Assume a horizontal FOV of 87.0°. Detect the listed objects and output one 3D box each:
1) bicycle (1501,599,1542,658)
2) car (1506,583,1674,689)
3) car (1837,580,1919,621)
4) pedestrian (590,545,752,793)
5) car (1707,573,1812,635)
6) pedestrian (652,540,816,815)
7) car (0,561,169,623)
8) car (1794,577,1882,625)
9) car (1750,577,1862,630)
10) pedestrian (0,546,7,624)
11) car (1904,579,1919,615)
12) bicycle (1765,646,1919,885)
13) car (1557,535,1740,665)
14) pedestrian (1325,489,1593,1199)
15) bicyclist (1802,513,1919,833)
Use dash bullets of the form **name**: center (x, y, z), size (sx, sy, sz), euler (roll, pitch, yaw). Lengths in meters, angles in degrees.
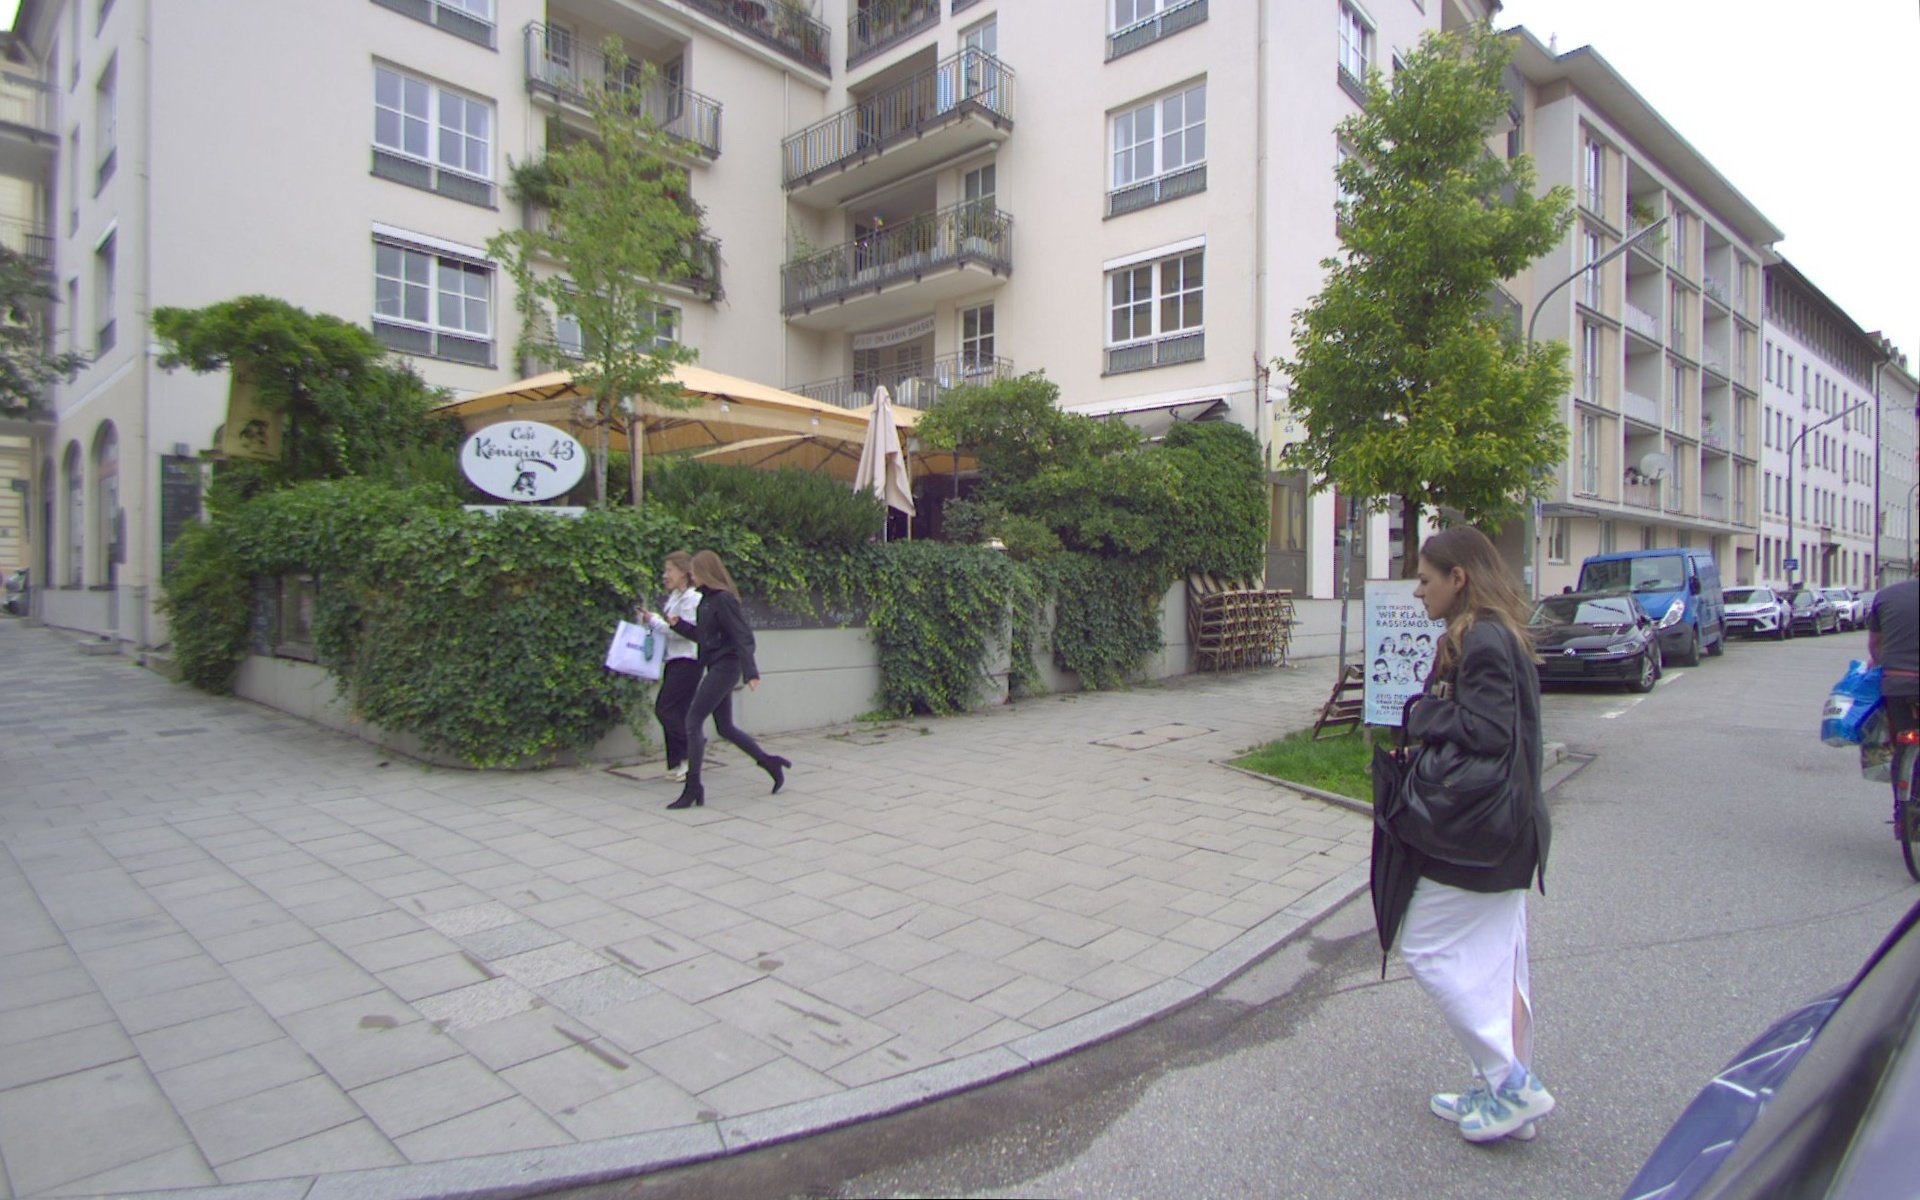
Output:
- **bicycle**: center (10.864, 0.522, 19.546), size (0.563, 1.083, 1.766), euler (1, 1, 33)
- **car**: center (9.837, 0.498, 15.680), size (1.711, 1.412, 3.944), euler (-3, -2, 39)
- **car**: center (34.128, 0.039, 37.433), size (4.410, 1.399, 1.830), euler (0, -2, -39)
- **pedestrian**: center (-2.057, 0.428, 7.199), size (0.806, 1.626, 0.817), euler (2, 2, 43)
- **car**: center (22.253, 0.131, 28.117), size (1.775, 1.543, 4.235), euler (-5, -4, 44)
- **pedestrian**: center (-1.471, 0.448, 6.582), size (0.816, 1.648, 0.679), euler (-1, 2, -43)
- **car**: center (-23.436, -0.223, 27.045), size (1.571, 1.549, 3.427), euler (1, 1, 43)
- **car**: center (30.053, 0.034, 34.603), size (4.049, 1.488, 1.703), euler (0, -3, -42)
- **car**: center (26.188, 0.114, 31.284), size (4.609, 1.448, 1.775), euler (0, -4, -40)
- **pedestrian**: center (-21.846, -0.351, 22.576), size (0.829, 1.735, 0.776), euler (1, 0, 42)
- **car**: center (42.653, -0.158, 44.163), size (3.318, 1.536, 1.617), euler (0, -3, -39)
- **bicycle**: center (5.289, 0.822, 5.537), size (2.150, 1.032, 0.879), euler (0, 1, -37)
- **car**: center (13.925, -0.050, 20.339), size (2.108, 2.242, 4.950), euler (-5, -2, 44)
- **pedestrian**: center (1.395, 0.580, 2.824), size (0.539, 1.718, 0.659), euler (3, 2, 30)
- **bicyclist**: center (5.285, 0.372, 5.515), size (1.030, 1.629, 0.877), euler (0, 0, -39)
